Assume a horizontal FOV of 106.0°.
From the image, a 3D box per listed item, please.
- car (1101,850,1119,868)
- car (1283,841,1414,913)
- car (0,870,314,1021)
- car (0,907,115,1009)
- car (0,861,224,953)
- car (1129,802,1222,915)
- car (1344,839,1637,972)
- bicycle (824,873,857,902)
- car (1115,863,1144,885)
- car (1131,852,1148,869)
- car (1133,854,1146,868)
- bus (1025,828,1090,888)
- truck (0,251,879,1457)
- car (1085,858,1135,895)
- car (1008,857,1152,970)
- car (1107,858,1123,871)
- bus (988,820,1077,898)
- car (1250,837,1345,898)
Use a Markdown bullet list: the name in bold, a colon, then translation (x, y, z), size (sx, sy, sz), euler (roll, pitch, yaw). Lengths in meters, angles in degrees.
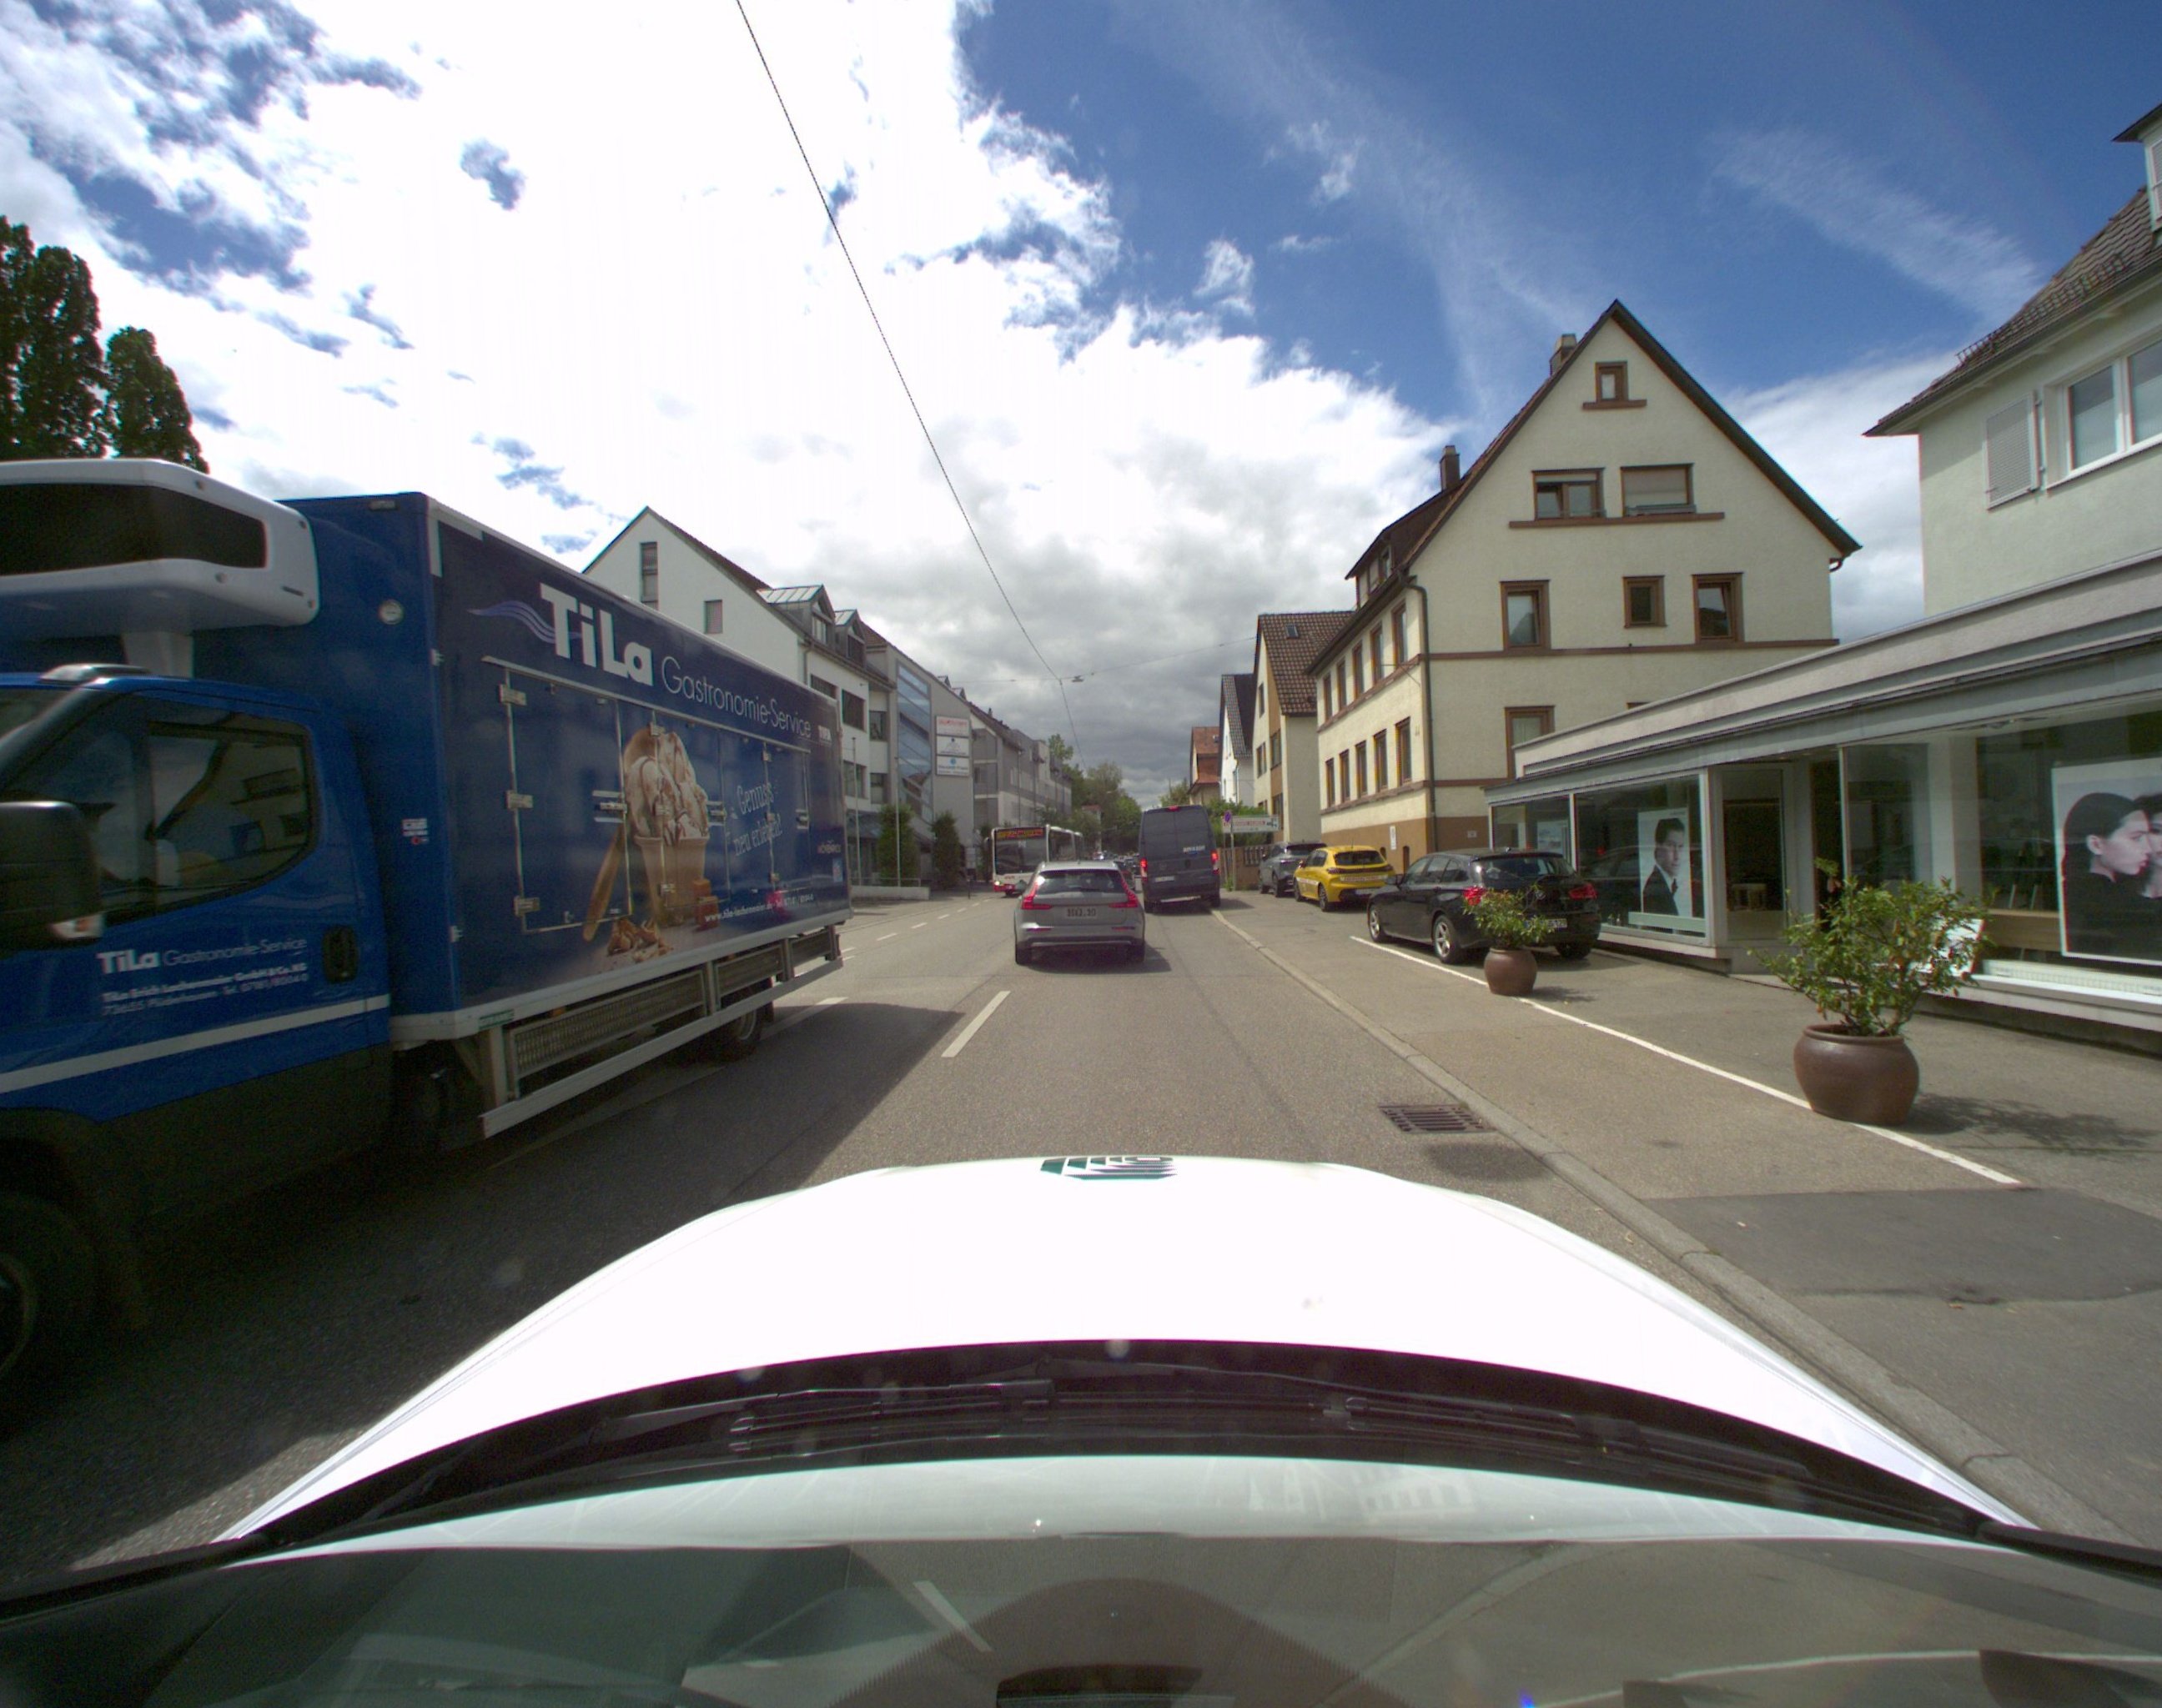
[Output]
- **car**: translation (3.649, 0.626, 101.736), size (2.097, 2.121, 4.769), euler (-4, 0, 3)
- **car**: translation (6.430, 0.468, 20.090), size (1.870, 1.447, 4.309), euler (-2, 2, 2)
- **car**: translation (-13.084, 1.151, 10.088), size (1.939, 1.619, 4.943), euler (-4, 0, 10)
- **car**: translation (-15.856, 1.506, 10.736), size (1.754, 1.331, 3.610), euler (-2, 0, 6)
- **car**: translation (-31.018, 1.562, 25.252), size (2.051, 2.530, 5.988), euler (-3, -1, 6)
- **car**: translation (2.694, 0.119, 23.430), size (2.241, 2.795, 5.579), euler (-2, 0, 6)
- **car**: translation (5.424, 0.594, 11.613), size (1.961, 1.447, 4.537), euler (-2, 0, 2)
- **bicycle**: translation (-10.012, 1.391, 33.971), size (0.627, 1.095, 2.005), euler (-2, 0, 5)
- **car**: translation (3.453, 1.382, 57.699), size (1.887, 1.446, 3.974), euler (-1, 0, 5)
- **car**: translation (7.592, 0.828, 105.949), size (1.986, 2.014, 4.001), euler (-2, 0, 2)
- **car**: translation (9.224, 1.067, 128.189), size (1.984, 2.014, 4.006), euler (-2, 0, 5)
- **bus**: translation (-1.222, 0.237, 47.949), size (2.702, 3.163, 8.081), euler (-2, 0, 6)
- **truck**: translation (-3.997, 0.037, 5.177), size (2.841, 3.093, 8.096), euler (-2, 0, 3)
- **car**: translation (1.281, 0.935, 34.741), size (1.887, 1.446, 3.974), euler (-1, 0, 5)
- **car**: translation (-0.011, 0.799, 12.764), size (1.890, 1.453, 3.968), euler (-1, 0, 0)
- **car**: translation (4.659, 1.382, 112.452), size (2.097, 1.710, 4.769), euler (-2, 0, 3)
- **bus**: translation (-2.046, 0.226, 38.870), size (2.670, 3.163, 10.197), euler (-2, 0, 5)
- **car**: translation (6.480, 0.378, 24.888), size (1.853, 1.612, 4.589), euler (-3, 0, 3)
